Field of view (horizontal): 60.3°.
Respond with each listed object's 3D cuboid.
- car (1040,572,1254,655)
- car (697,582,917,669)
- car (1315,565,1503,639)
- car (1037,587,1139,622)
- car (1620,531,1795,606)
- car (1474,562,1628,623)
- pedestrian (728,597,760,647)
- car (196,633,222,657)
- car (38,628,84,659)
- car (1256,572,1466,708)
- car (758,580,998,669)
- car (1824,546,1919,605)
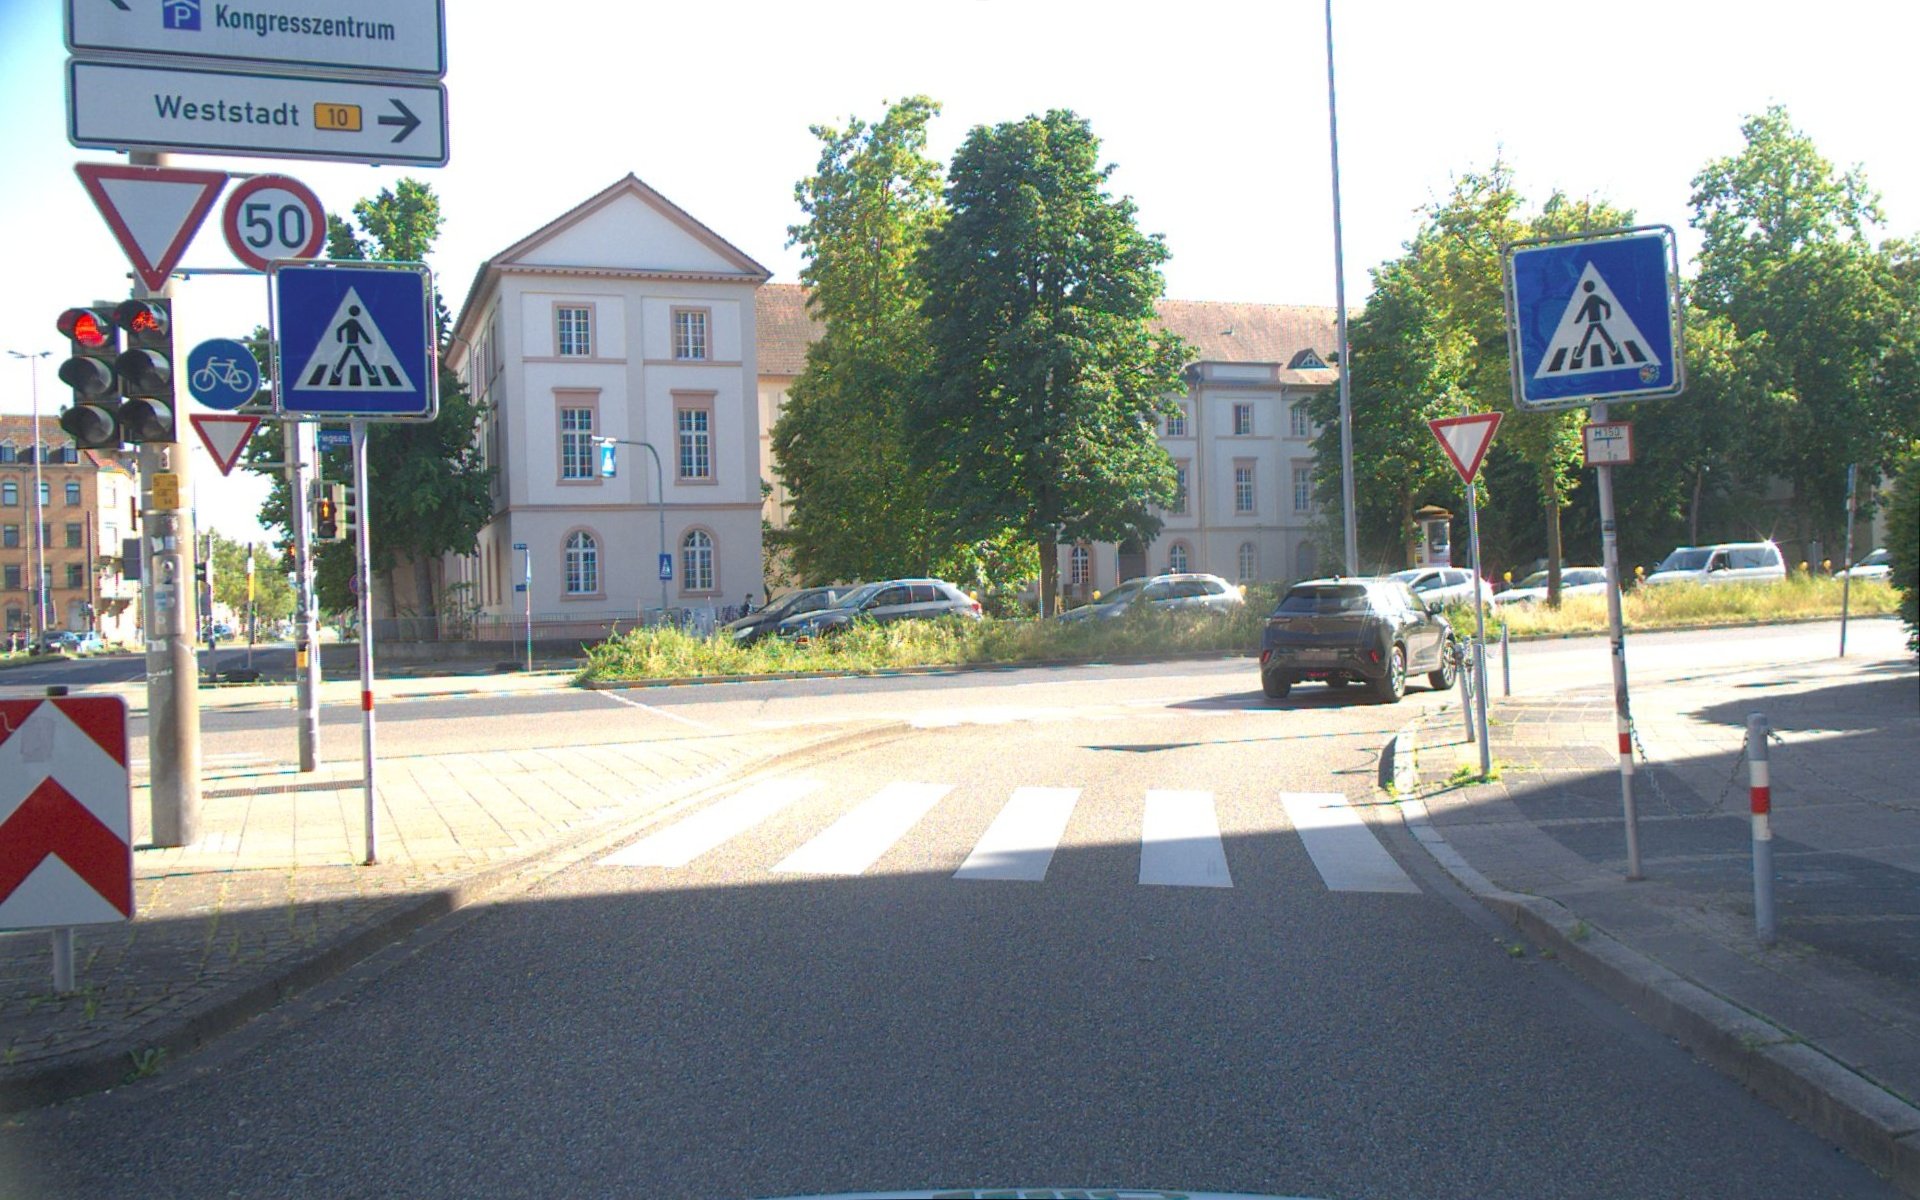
[{"bbox_3d":[3.992,0.253,35.195,4.301,1.545,1.784,-2,1,-29],"label":"car"},{"bbox_3d":[-3.198,0.506,34.708,4.217,1.613,1.845,-2,0,-29],"label":"car"},{"bbox_3d":[10.454,0.042,38.490,4.146,1.545,1.784,-2,0,-29],"label":"car"},{"bbox_3d":[6.038,0.219,77.884,4.617,1.518,1.632,1,-1,-28],"label":"car"},{"bbox_3d":[22.179,-0.951,49.074,4.946,2.063,2.219,-2,0,-29],"label":"car"},{"bbox_3d":[16.255,-0.207,45.478,4.022,1.545,1.784,-2,0,-29],"label":"car"},{"bbox_3d":[-7.017,0.710,53.689,0.772,1.562,0.734,-2,0,-33],"label":"pedestrian"},{"bbox_3d":[-60.500,3.609,133.287,1.823,1.735,3.971,-2,0,-23],"label":"car"},{"bbox_3d":[-56.302,2.714,103.639,1.965,1.847,3.974,1,0,-21],"label":"car"},{"bbox_3d":[5.472,0.455,22.207,1.858,1.545,3.996,0,2,27],"label":"car"},{"bbox_3d":[-1.561,0.424,31.819,4.285,1.545,1.784,-1,1,-29],"label":"car"},{"bbox_3d":[30.325,-0.822,53.490,4.961,1.773,1.784,-2,0,-29],"label":"car"}]
